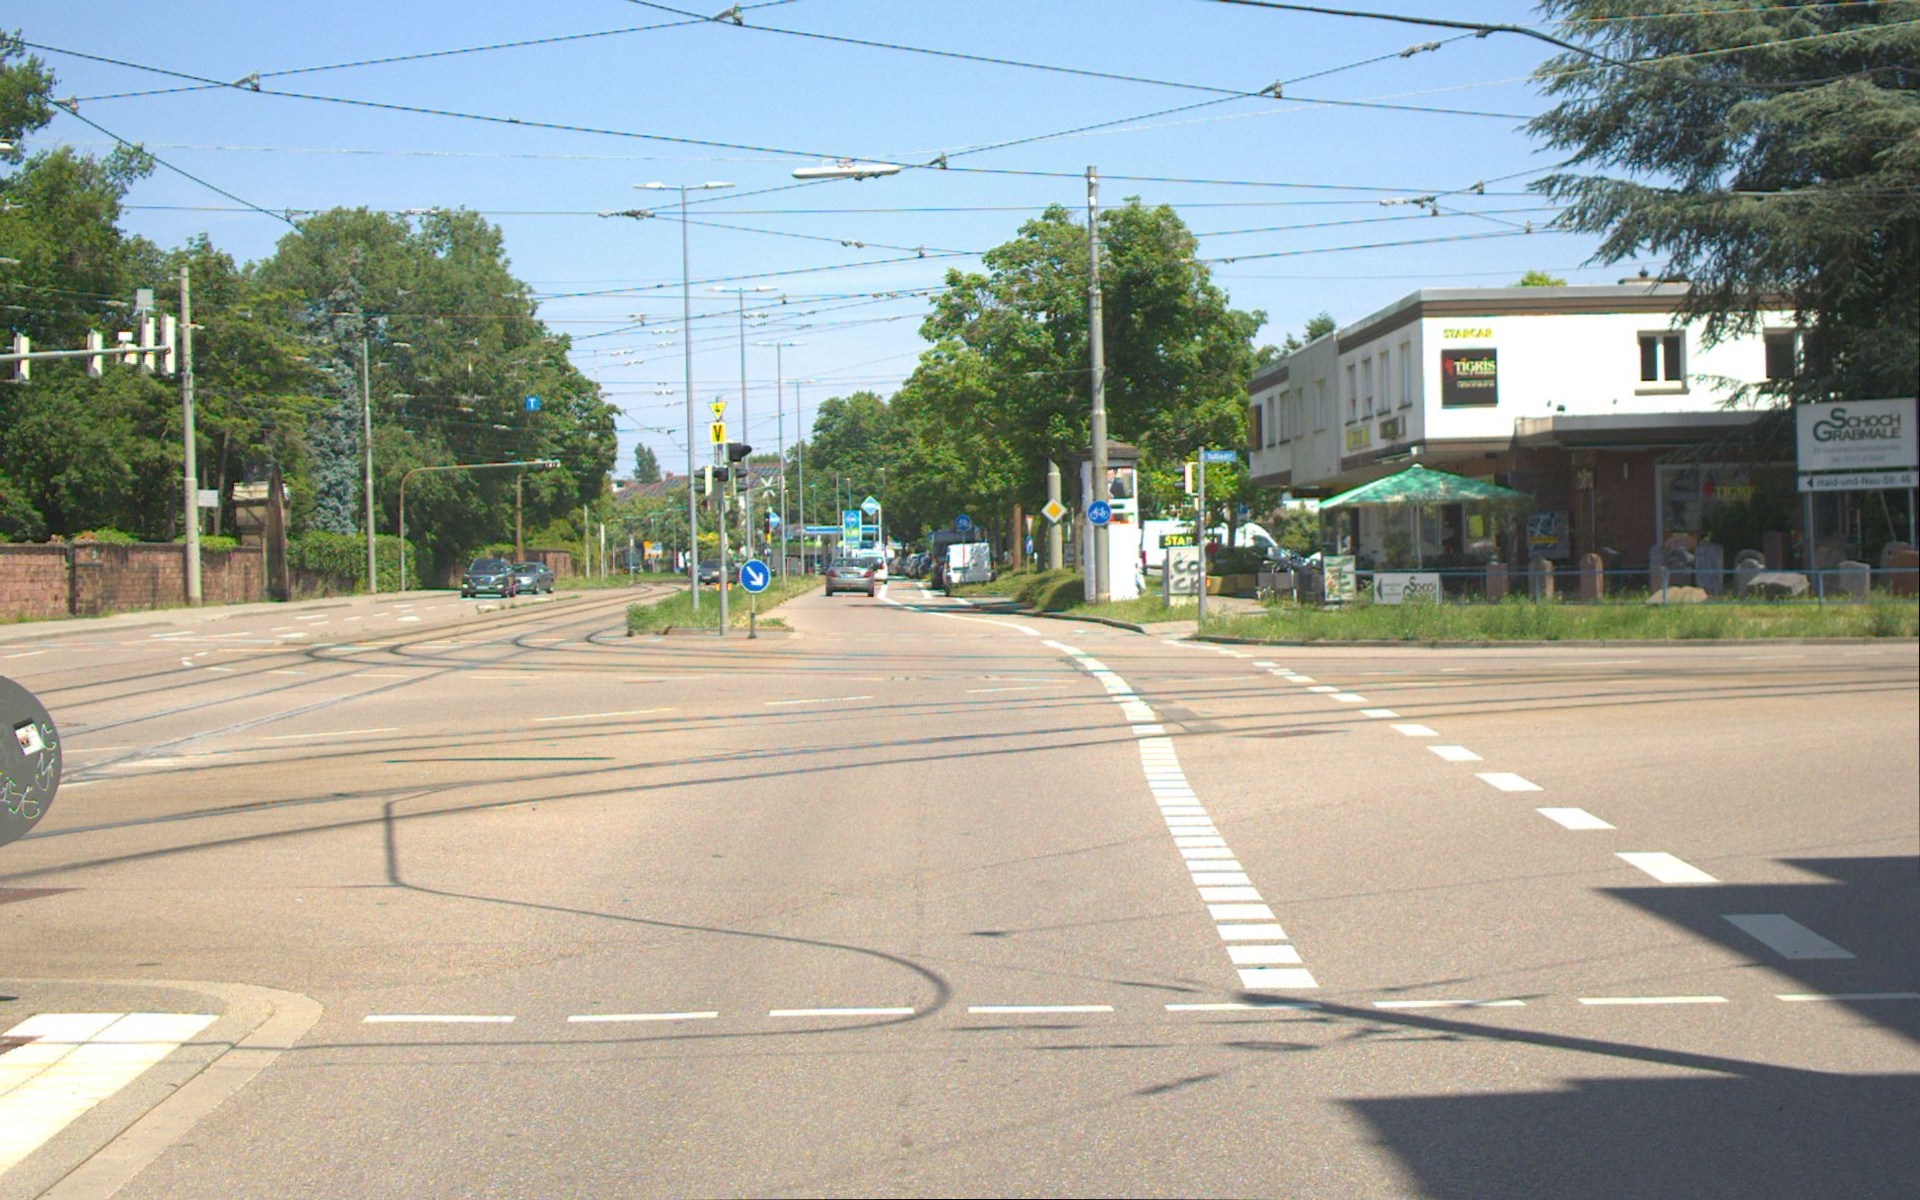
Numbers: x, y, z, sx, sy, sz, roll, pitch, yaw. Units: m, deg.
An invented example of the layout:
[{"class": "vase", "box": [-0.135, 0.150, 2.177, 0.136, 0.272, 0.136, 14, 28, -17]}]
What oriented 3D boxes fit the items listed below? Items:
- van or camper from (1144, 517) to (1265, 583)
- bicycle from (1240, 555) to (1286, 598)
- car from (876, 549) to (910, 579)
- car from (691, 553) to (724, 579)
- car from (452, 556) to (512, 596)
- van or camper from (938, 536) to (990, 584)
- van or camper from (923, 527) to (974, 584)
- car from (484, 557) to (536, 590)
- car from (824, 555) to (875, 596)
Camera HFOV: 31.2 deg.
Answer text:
[{"class": "van or camper", "box": [10.129, -2.082, 142.840, 4.756, 2.662, 2.136, -1, 1, -2]}, {"class": "bicycle", "box": [7.400, -0.585, 83.850, 1.034, 1.011, 2.636, -1, 1, 6]}, {"class": "car", "box": [-3.323, -1.792, 170.635, 1.670, 1.430, 3.474, -1, 1, -1]}, {"class": "car", "box": [-13.837, -1.873, 188.513, 1.641, 1.395, 4.116, -1, 1, -2]}, {"class": "car", "box": [-19.724, -1.014, 142.144, 1.820, 1.598, 4.520, -1, 1, 0]}, {"class": "van or camper", "box": [0.132, -1.503, 129.788, 1.922, 1.766, 4.000, -1, 1, 0]}, {"class": "van or camper", "box": [-0.522, -1.967, 152.259, 1.993, 2.456, 4.001, -1, 1, -4]}, {"class": "car", "box": [-19.845, -1.168, 151.860, 1.641, 1.416, 4.167, -1, 1, 1]}, {"class": "car", "box": [-4.045, -0.913, 125.504, 1.636, 1.346, 3.842, -4, 1, -4]}]
